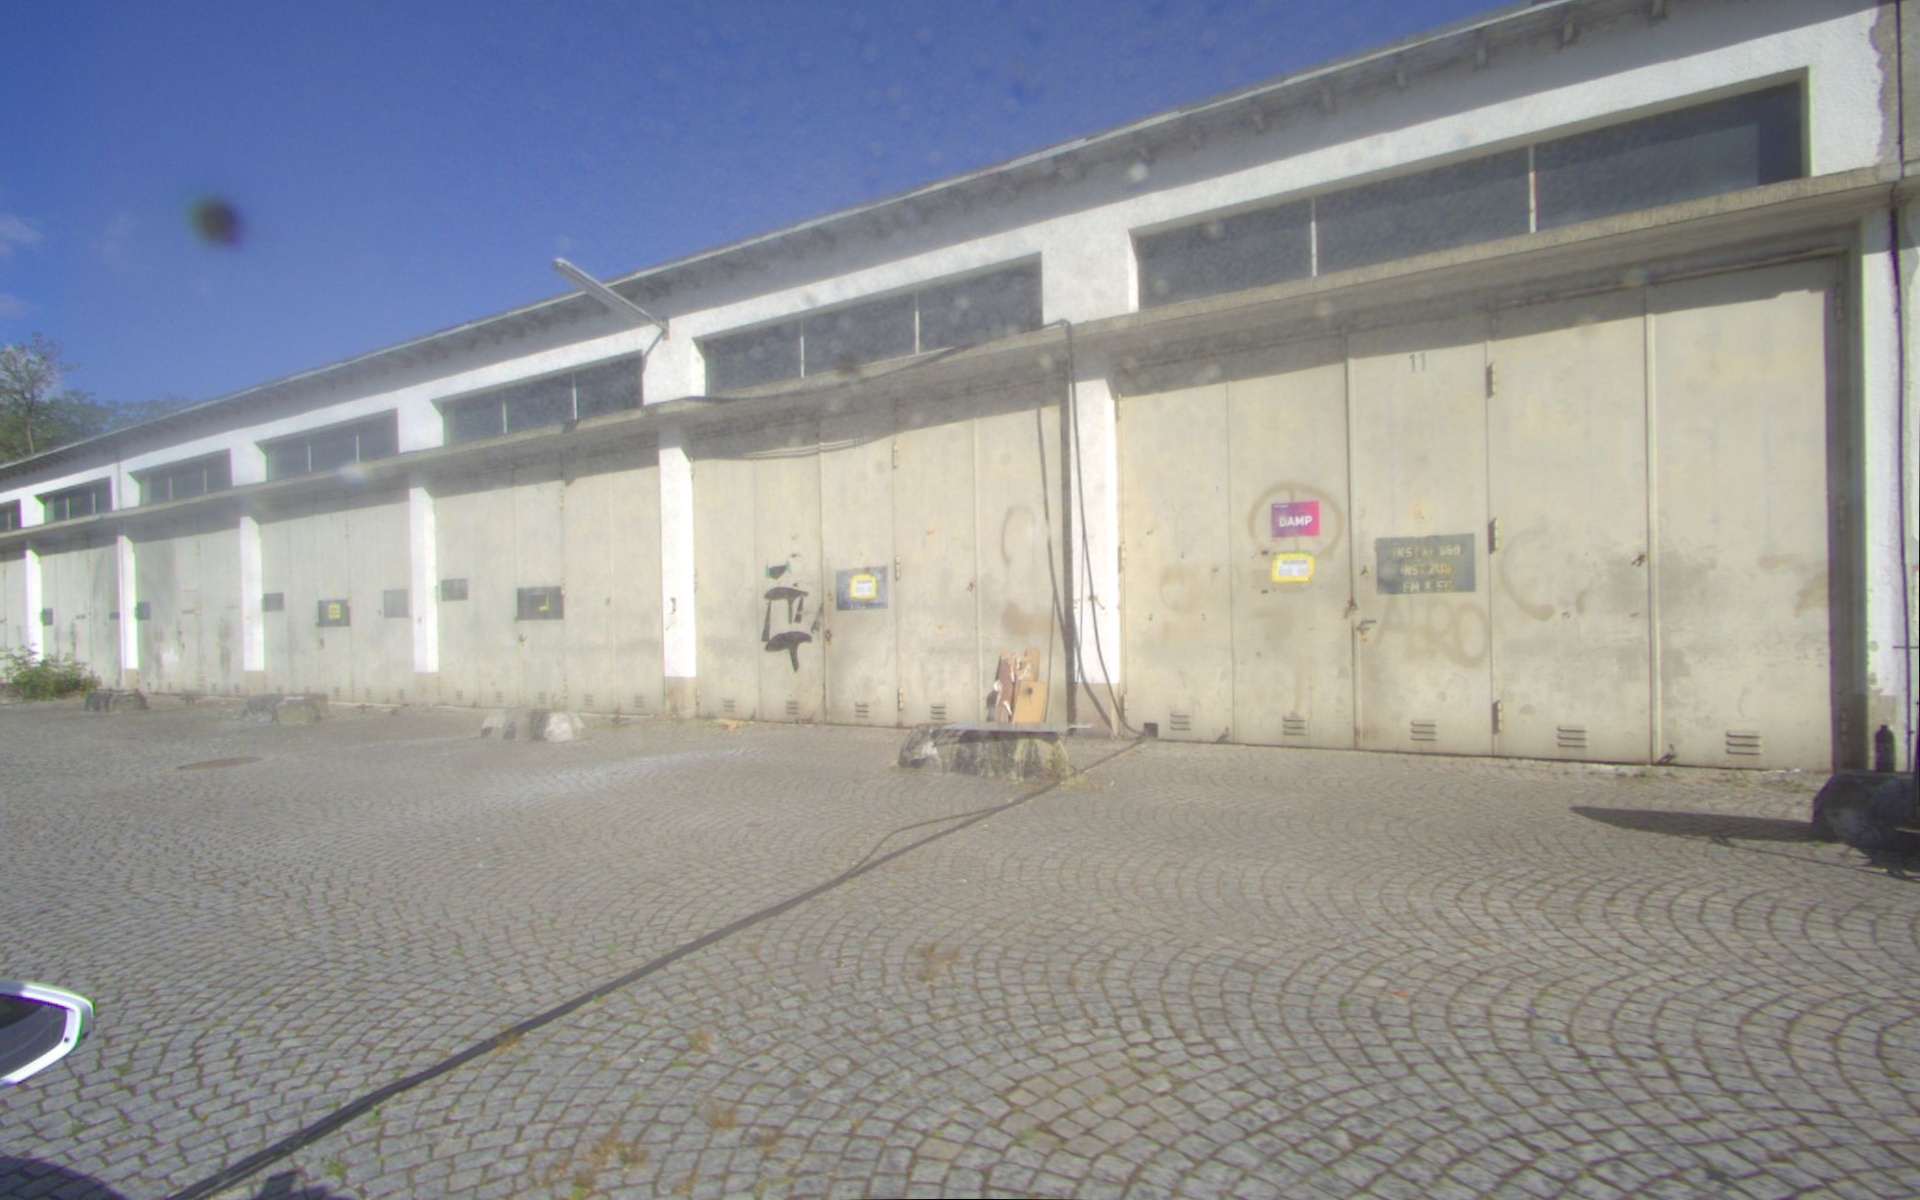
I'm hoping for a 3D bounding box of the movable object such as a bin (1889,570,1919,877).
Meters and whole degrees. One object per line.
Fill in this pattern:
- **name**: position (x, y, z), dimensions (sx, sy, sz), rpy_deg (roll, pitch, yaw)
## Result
- **movable object such as a bin**: position (4.882, 0.558, 4.328), dimensions (1.085, 1.419, 0.873), rpy_deg (-1, 0, 31)
